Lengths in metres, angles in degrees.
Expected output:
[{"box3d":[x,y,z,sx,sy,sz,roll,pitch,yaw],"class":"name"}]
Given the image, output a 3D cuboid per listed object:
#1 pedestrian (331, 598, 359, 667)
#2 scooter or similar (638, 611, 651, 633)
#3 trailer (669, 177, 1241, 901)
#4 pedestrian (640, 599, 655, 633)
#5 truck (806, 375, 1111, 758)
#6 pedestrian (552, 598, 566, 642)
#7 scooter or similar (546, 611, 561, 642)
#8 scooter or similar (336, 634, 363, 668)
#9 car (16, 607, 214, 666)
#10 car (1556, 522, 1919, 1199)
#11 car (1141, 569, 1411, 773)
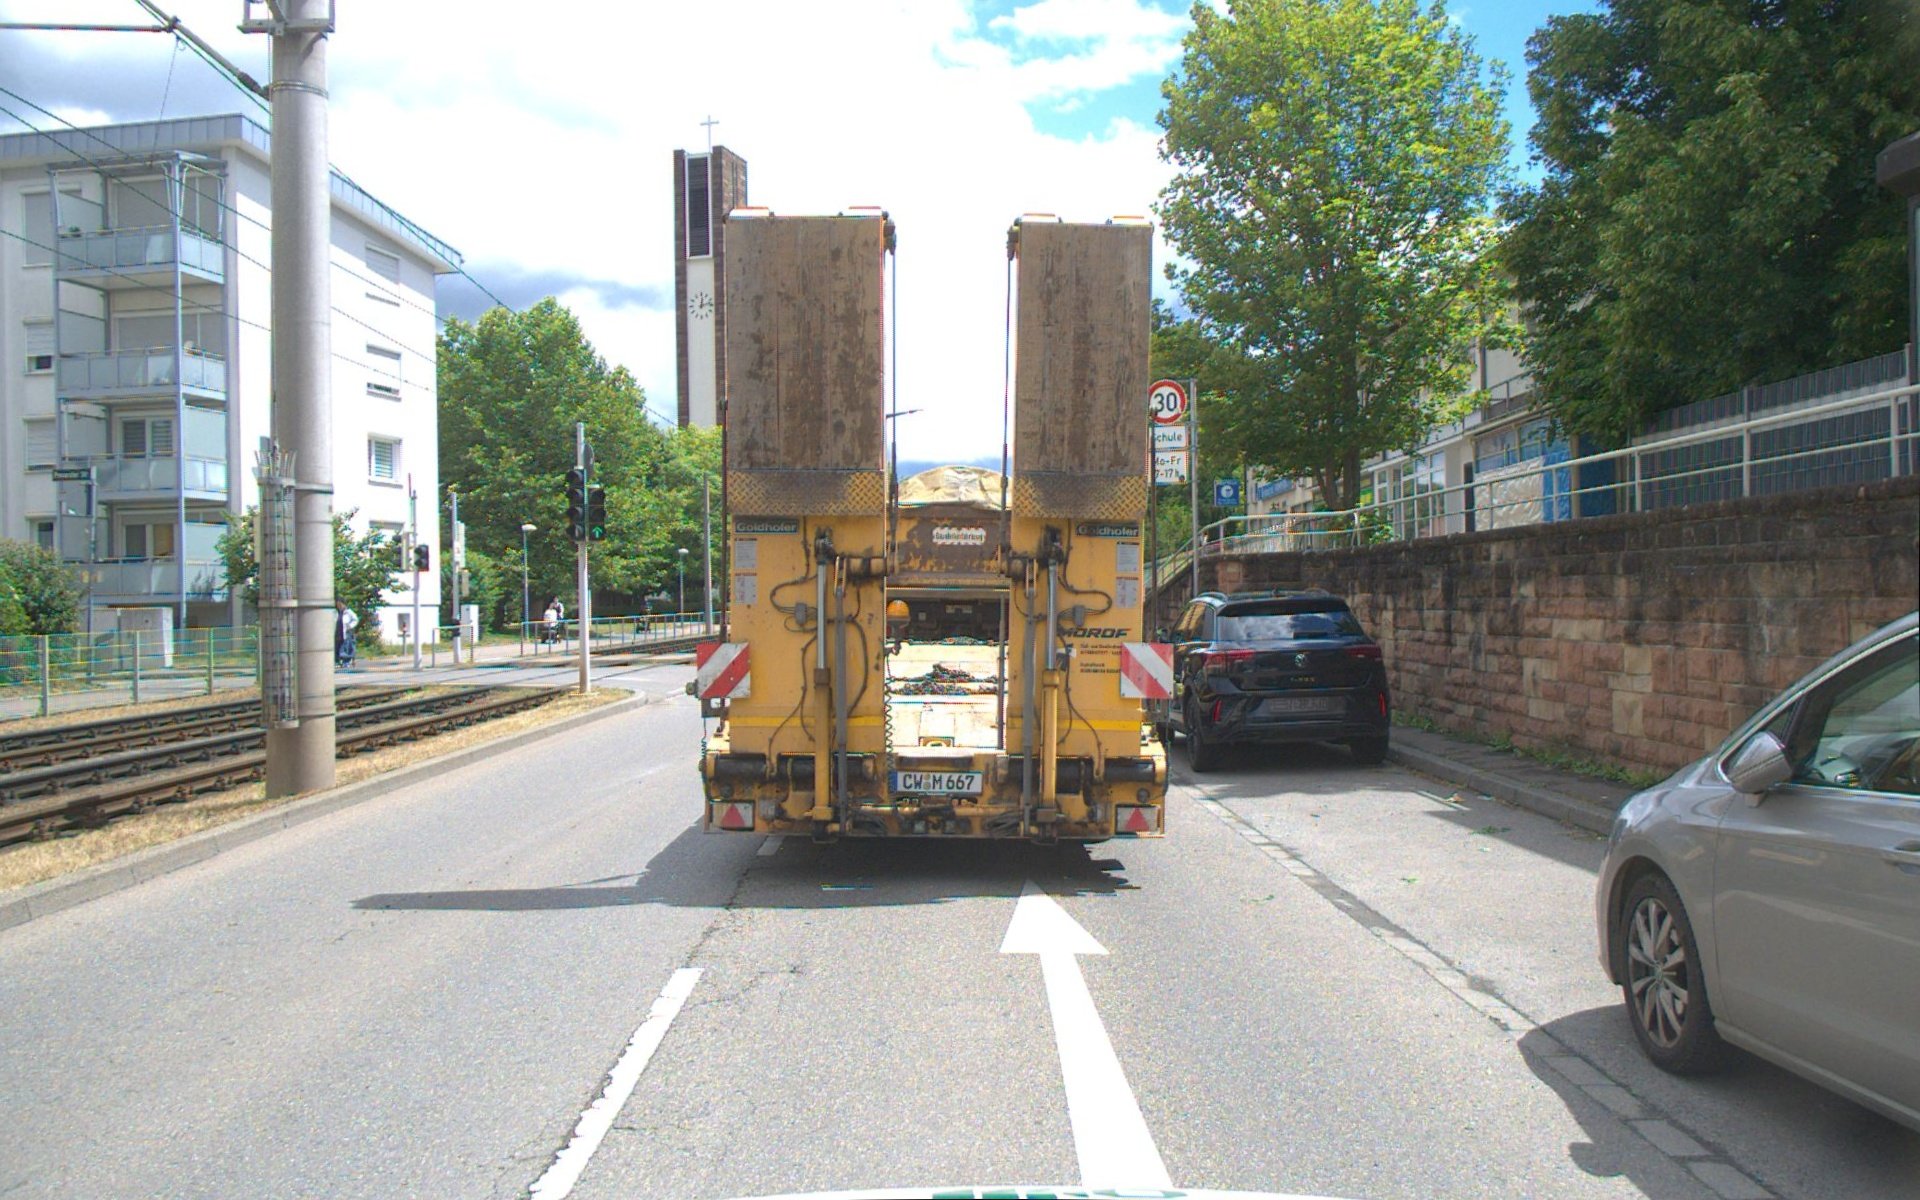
[{"box3d":[-14.459,0.770,38.893,0.428,1.608,0.475,-1,0,4],"class":"pedestrian"},{"box3d":[-14.365,0.990,75.288,0.495,0.988,0.645,1,0,-2],"class":"scooter or similar"},{"box3d":[-0.015,-0.324,12.764,2.885,3.664,8.683,0,0,0],"class":"trailer"},{"box3d":[-14.354,0.722,75.942,0.552,1.540,0.645,1,0,-2],"class":"pedestrian"},{"box3d":[-0.006,-0.325,18.226,2.882,3.635,4.876,0,0,0],"class":"truck"},{"box3d":[-14.301,0.720,59.024,0.341,1.564,0.557,0,0,3],"class":"pedestrian"},{"box3d":[-14.338,0.948,58.392,0.331,1.076,0.688,0,0,2],"class":"scooter or similar"},{"box3d":[-14.237,1.190,38.580,0.428,0.760,0.475,-1,0,4],"class":"scooter or similar"},{"box3d":[-20.601,0.878,40.413,3.902,1.369,1.902,-1,0,7],"class":"car"},{"box3d":[3.165,0.609,4.025,1.754,1.646,4.247,-2,0,-2],"class":"car"},{"box3d":[2.899,0.601,16.046,1.813,1.668,4.000,-2,0,0],"class":"car"}]
